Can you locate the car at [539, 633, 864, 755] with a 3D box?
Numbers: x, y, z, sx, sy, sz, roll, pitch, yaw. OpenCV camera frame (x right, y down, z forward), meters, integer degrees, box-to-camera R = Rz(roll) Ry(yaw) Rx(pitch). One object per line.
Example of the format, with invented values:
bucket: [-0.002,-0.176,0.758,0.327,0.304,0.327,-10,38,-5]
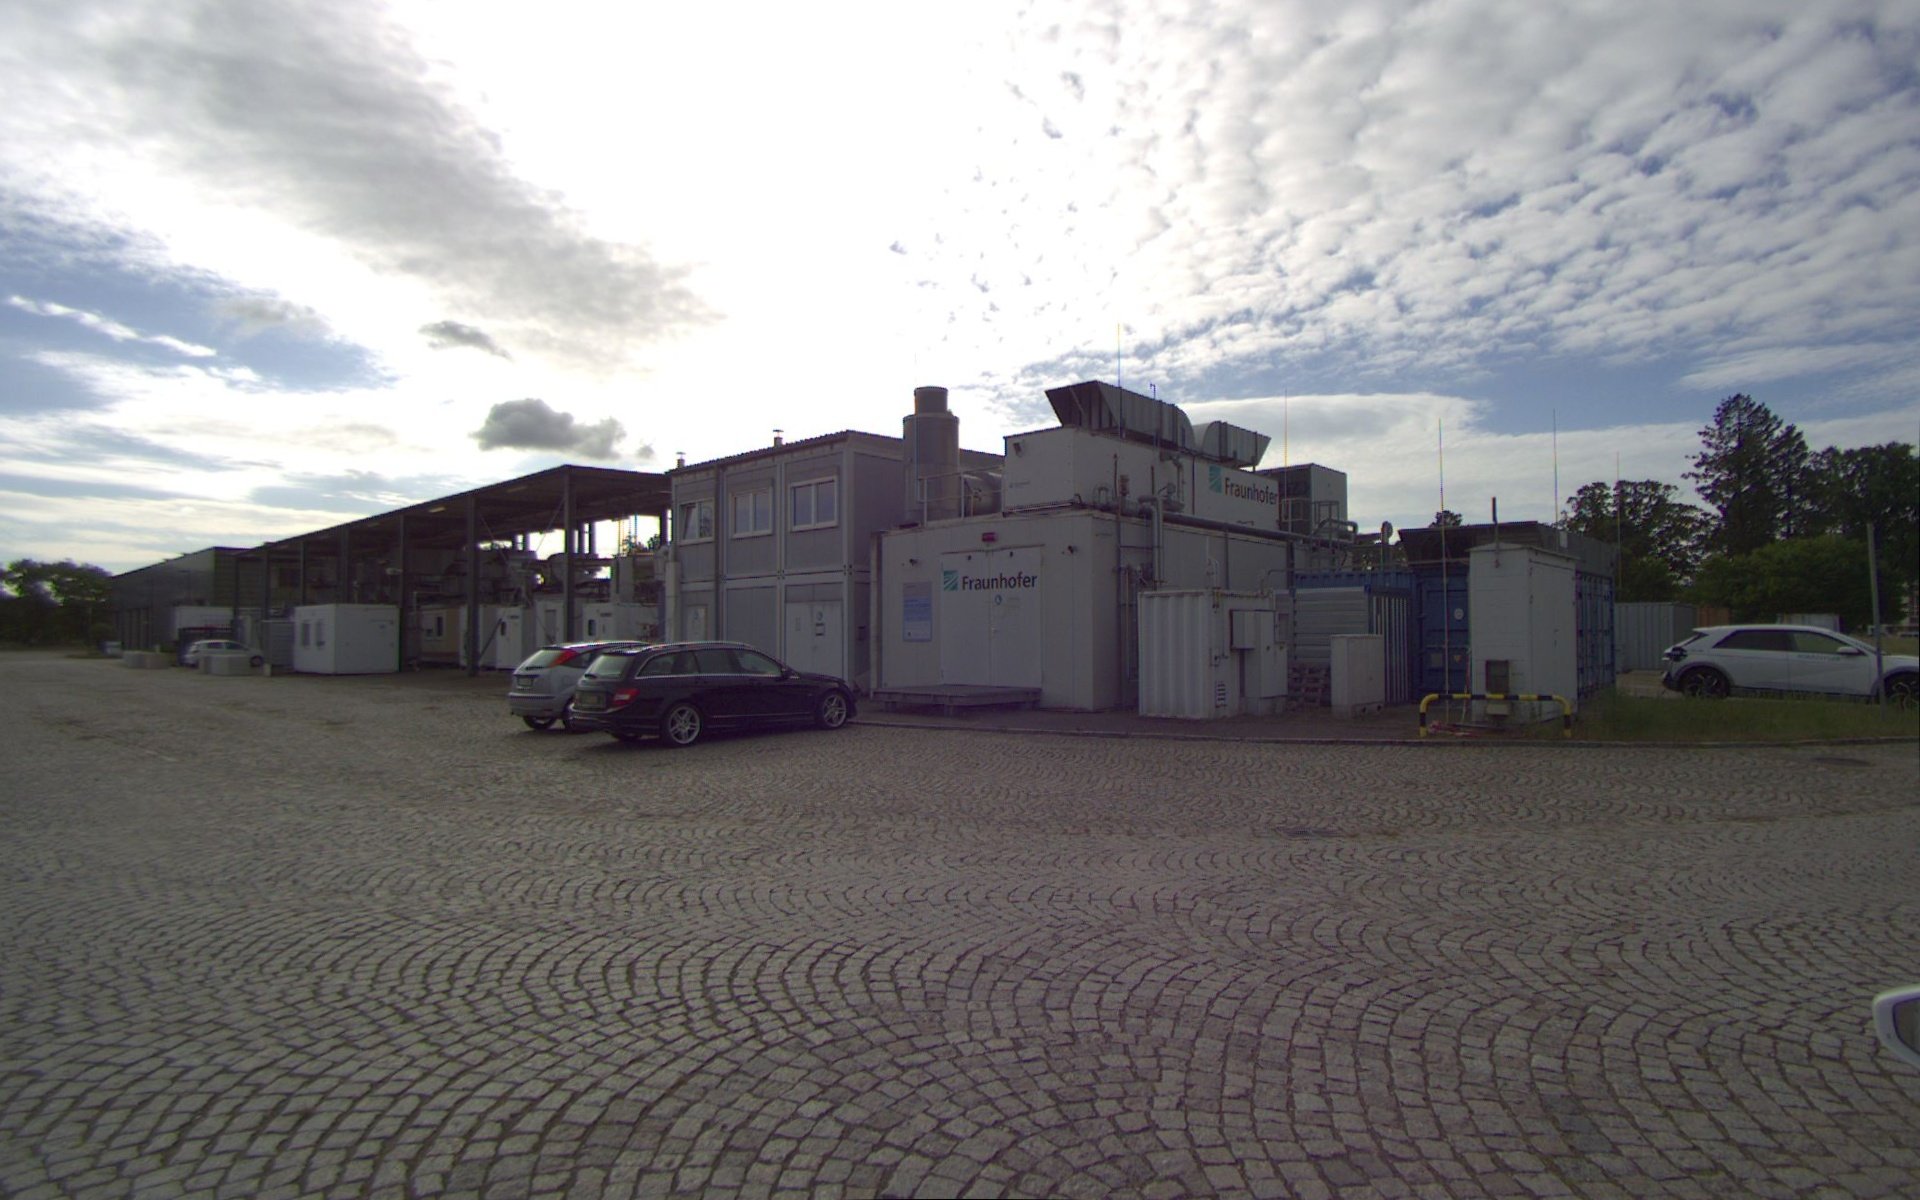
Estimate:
car: [-3.841,1.325,15.531,2.014,1.472,4.504,-2,-1,43]

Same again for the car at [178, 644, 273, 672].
car: [-40.875,3.206,55.964,1.971,1.511,3.979,-2,-3,41]

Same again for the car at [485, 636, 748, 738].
car: [-5.981,1.439,17.828,1.885,1.495,4.026,-2,-2,41]

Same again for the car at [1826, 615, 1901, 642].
car: [84.585,2.711,94.129,5.116,2.368,1.989,-3,-3,43]

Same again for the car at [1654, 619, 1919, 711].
car: [16.437,1.231,19.567,1.987,1.620,4.490,2,-3,-44]
